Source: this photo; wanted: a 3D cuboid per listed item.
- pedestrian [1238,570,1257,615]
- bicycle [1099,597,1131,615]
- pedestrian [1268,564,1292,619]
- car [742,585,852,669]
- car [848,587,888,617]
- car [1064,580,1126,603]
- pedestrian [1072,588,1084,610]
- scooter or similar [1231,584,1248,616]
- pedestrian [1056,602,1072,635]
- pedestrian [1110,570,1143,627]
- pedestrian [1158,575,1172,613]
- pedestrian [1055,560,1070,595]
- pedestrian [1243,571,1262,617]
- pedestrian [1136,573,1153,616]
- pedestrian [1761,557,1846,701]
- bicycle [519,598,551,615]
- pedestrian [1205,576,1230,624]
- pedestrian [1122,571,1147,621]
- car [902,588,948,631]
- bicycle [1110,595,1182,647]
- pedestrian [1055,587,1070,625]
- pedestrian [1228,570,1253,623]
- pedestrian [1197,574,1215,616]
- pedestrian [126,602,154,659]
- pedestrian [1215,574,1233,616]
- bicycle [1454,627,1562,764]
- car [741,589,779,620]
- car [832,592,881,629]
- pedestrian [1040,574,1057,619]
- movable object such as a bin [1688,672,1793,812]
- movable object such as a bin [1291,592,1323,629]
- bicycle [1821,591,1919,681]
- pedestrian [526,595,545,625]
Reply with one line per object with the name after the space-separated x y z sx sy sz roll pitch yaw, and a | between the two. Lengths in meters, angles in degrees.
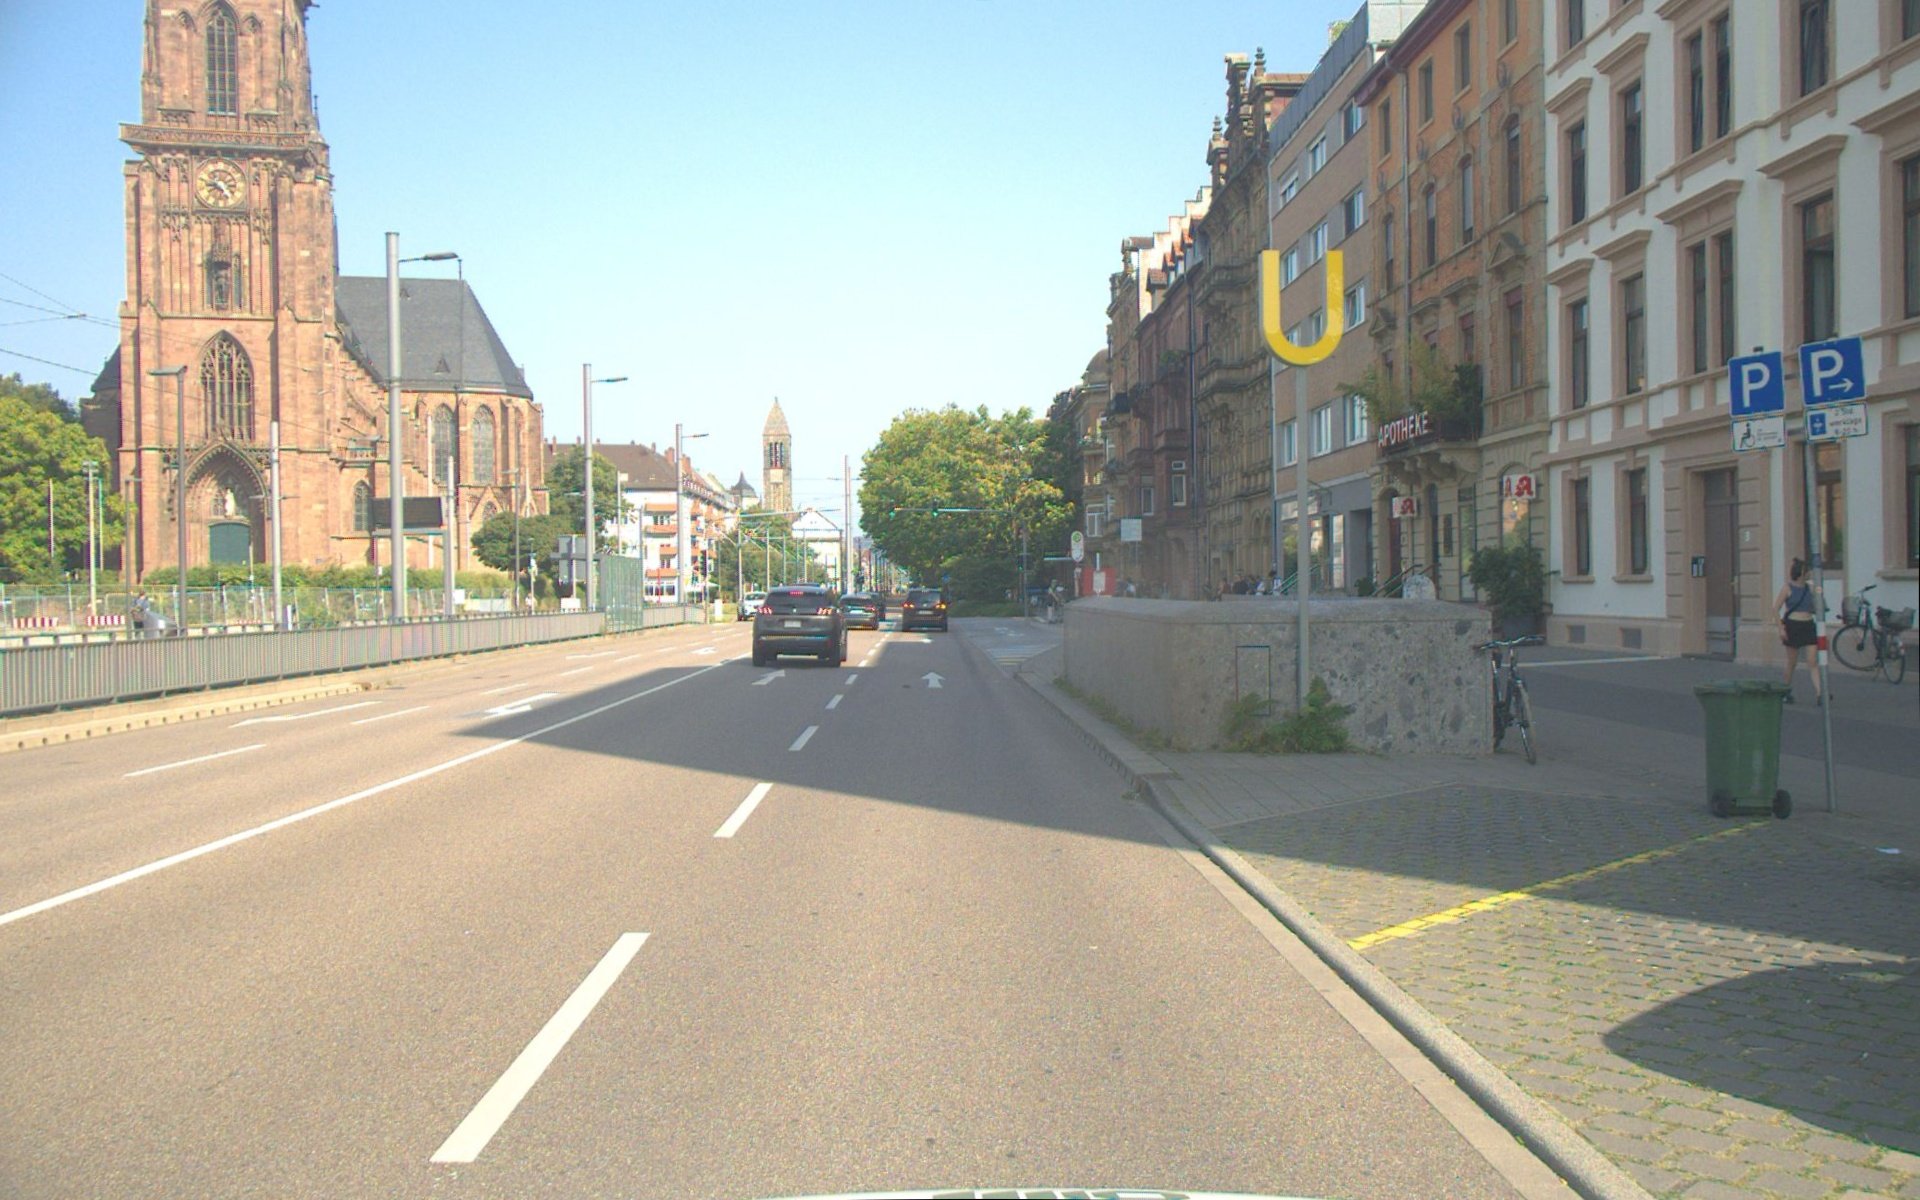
11.109 -0.301 63.927 0.591 1.721 0.586 -1 0 -5 | pedestrian
9.360 0.372 99.940 1.891 1.066 0.499 -1 0 -7 | bicycle
10.991 -0.302 56.853 0.591 1.863 0.742 -1 0 -5 | pedestrian
-3.376 0.520 35.053 1.953 1.649 4.356 0 1 -1 | car
-4.667 0.095 84.309 1.826 1.449 4.356 0 1 -1 | car
9.727 -0.633 119.326 4.099 1.590 1.998 -1 0 -6 | car
4.535 -0.042 63.630 0.297 0.834 0.603 -1 0 -9 | pedestrian
10.428 -0.013 61.647 0.353 1.183 1.151 -1 0 -4 | scooter or similar
4.120 0.731 65.514 0.554 1.300 0.596 -1 0 -5 | pedestrian
5.541 -0.053 55.077 0.907 1.863 0.800 -1 0 -5 | pedestrian
8.976 -0.254 72.354 0.476 1.638 0.812 -1 0 0 | pedestrian
4.957 -1.089 79.938 0.676 1.693 0.619 -1 0 -1 | pedestrian
11.121 -0.227 62.912 0.591 1.761 0.510 -1 0 -5 | pedestrian
8.077 -0.239 72.357 0.604 1.835 1.071 -1 0 0 | pedestrian
9.969 0.336 19.563 0.596 1.657 0.737 -1 0 -1 | pedestrian
-24.634 0.377 95.796 1.721 0.995 0.480 -1 0 8 | bicycle
8.993 0.000 57.769 0.705 1.638 0.856 -1 0 0 | pedestrian
6.284 -0.151 59.464 0.735 1.759 0.800 -1 0 -5 | pedestrian
-1.413 0.355 66.693 1.794 1.649 4.356 0 1 -1 | car
4.363 0.480 38.805 1.599 1.168 0.601 -1 0 0 | bicycle
4.496 0.270 72.634 0.517 1.640 0.702 -1 0 -5 | pedestrian
9.790 -0.114 57.724 0.705 1.818 0.856 -1 0 0 | pedestrian
10.401 -0.201 69.880 0.617 1.749 0.690 -1 0 -2 | pedestrian
-24.923 0.921 50.285 0.507 1.730 0.664 -1 0 -2 | pedestrian
10.656 -0.205 66.706 0.591 1.683 0.586 -1 0 -5 | pedestrian
5.077 0.852 15.411 0.375 1.154 1.790 -1 0 -1 | bicycle
-11.550 0.233 95.642 1.678 1.639 4.503 -2 0 -2 | car
-4.271 0.427 68.649 1.826 1.449 4.356 0 1 -1 | car
3.493 -0.128 65.383 0.554 1.759 0.745 -1 0 -5 | pedestrian
5.465 0.983 11.596 0.479 0.919 0.537 -1 0 1 | movable object such as a bin
10.704 0.319 50.974 0.725 1.099 0.666 -1 0 -18 | movable object such as a bin
12.156 0.457 22.099 0.375 1.154 1.719 -1 0 -1 | bicycle
-24.594 0.589 95.789 0.897 1.709 0.603 -1 0 8 | pedestrian
